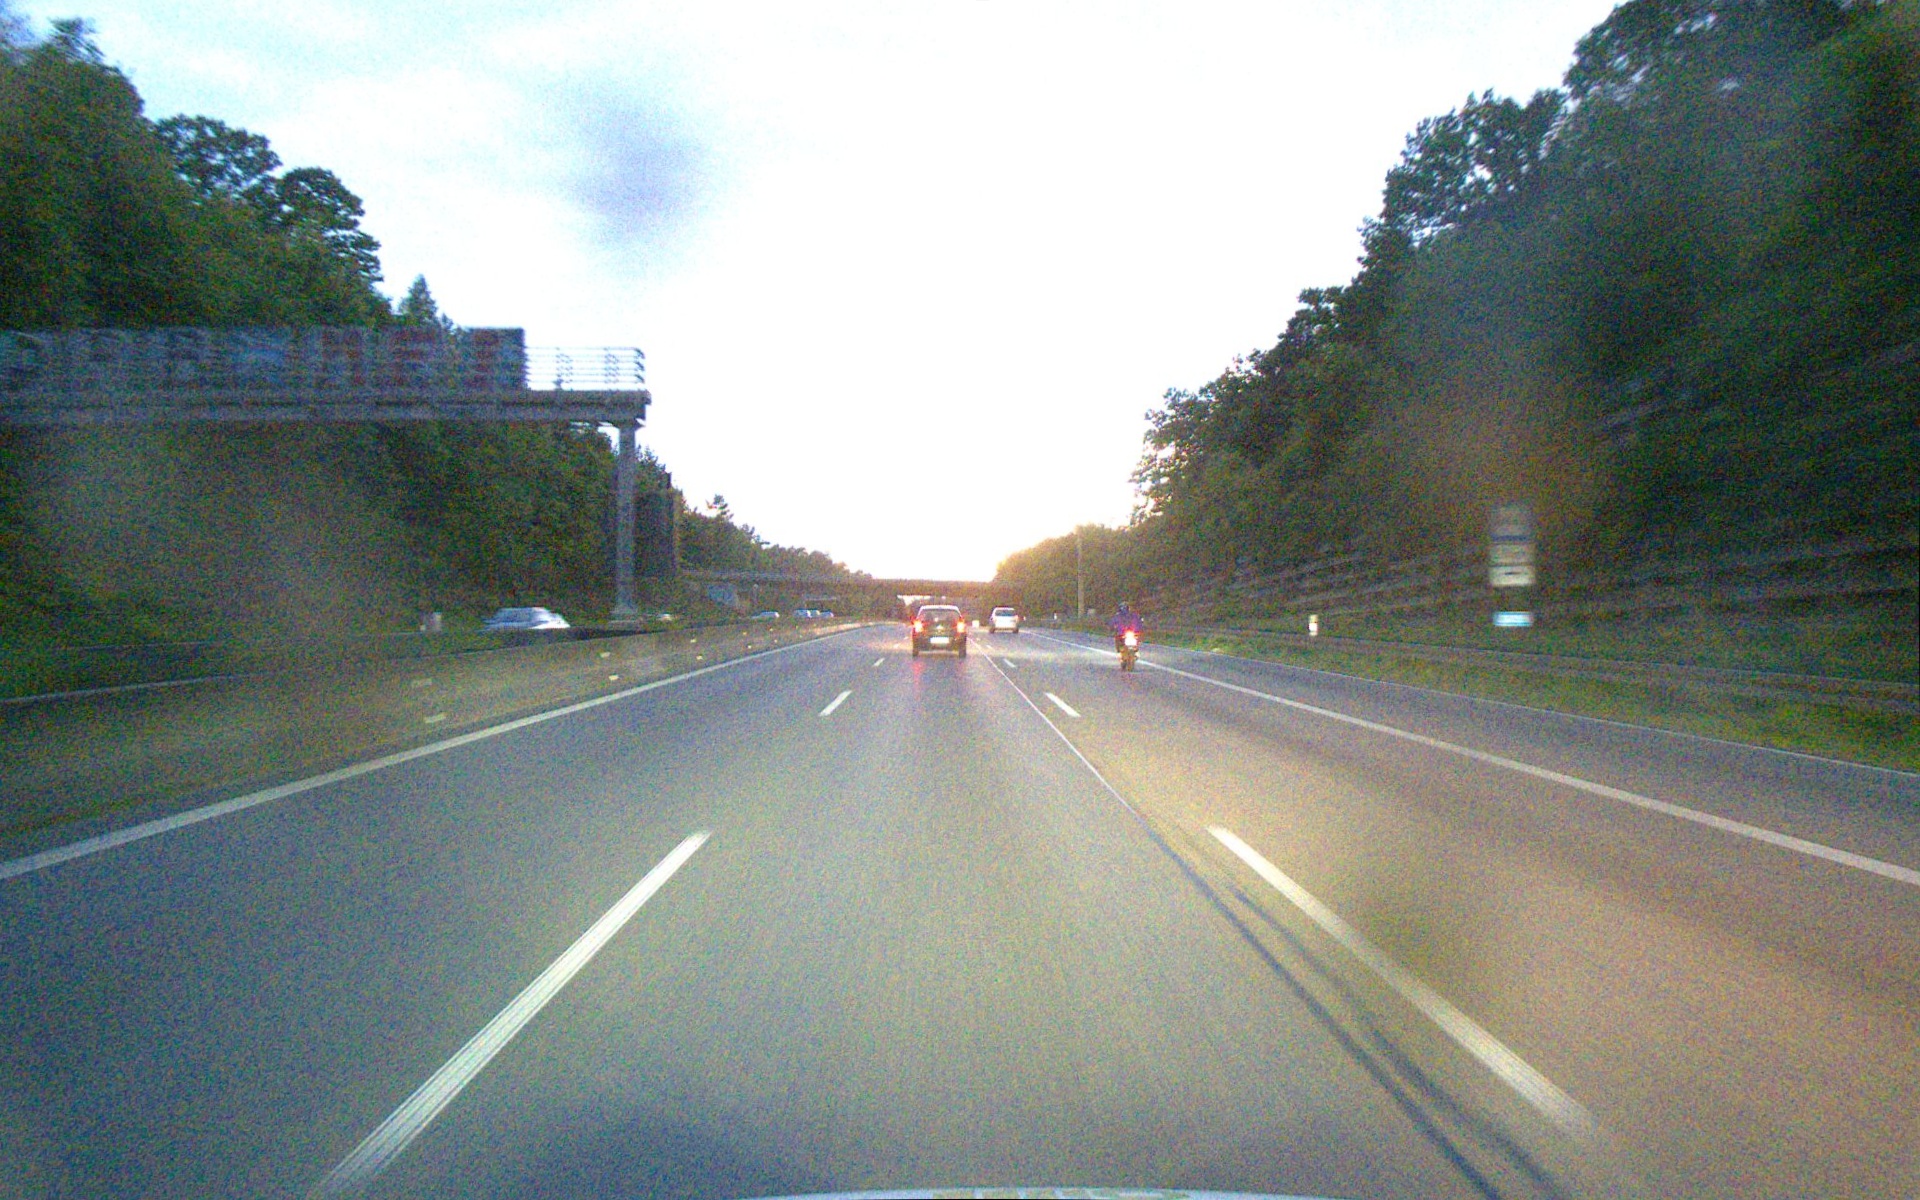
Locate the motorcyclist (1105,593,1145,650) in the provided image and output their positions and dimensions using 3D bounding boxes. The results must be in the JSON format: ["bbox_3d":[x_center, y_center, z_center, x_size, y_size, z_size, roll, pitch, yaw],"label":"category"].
[{"bbox_3d":[3.903,0.504,39.180,0.813,1.314,1.190,0,0,-1],"label":"motorcyclist"}]

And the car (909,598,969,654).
[{"bbox_3d":[-0.629,0.761,49.300,1.669,1.536,4.231,2,-1,-1],"label":"car"}]

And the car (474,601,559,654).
[{"bbox_3d":[-15.555,0.935,58.248,1.878,1.796,5.005,0,0,-3],"label":"car"}]

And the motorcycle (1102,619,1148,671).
[{"bbox_3d":[3.902,1.050,39.244,0.813,1.154,2.475,0,0,-1],"label":"motorcycle"}]

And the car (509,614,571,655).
[{"bbox_3d":[-19.580,1.585,77.322,1.878,1.796,5.005,0,0,-3],"label":"car"}]

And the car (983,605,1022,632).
[{"bbox_3d":[2.523,1.100,99.735,1.829,1.520,4.394,2,-1,-5],"label":"car"}]
